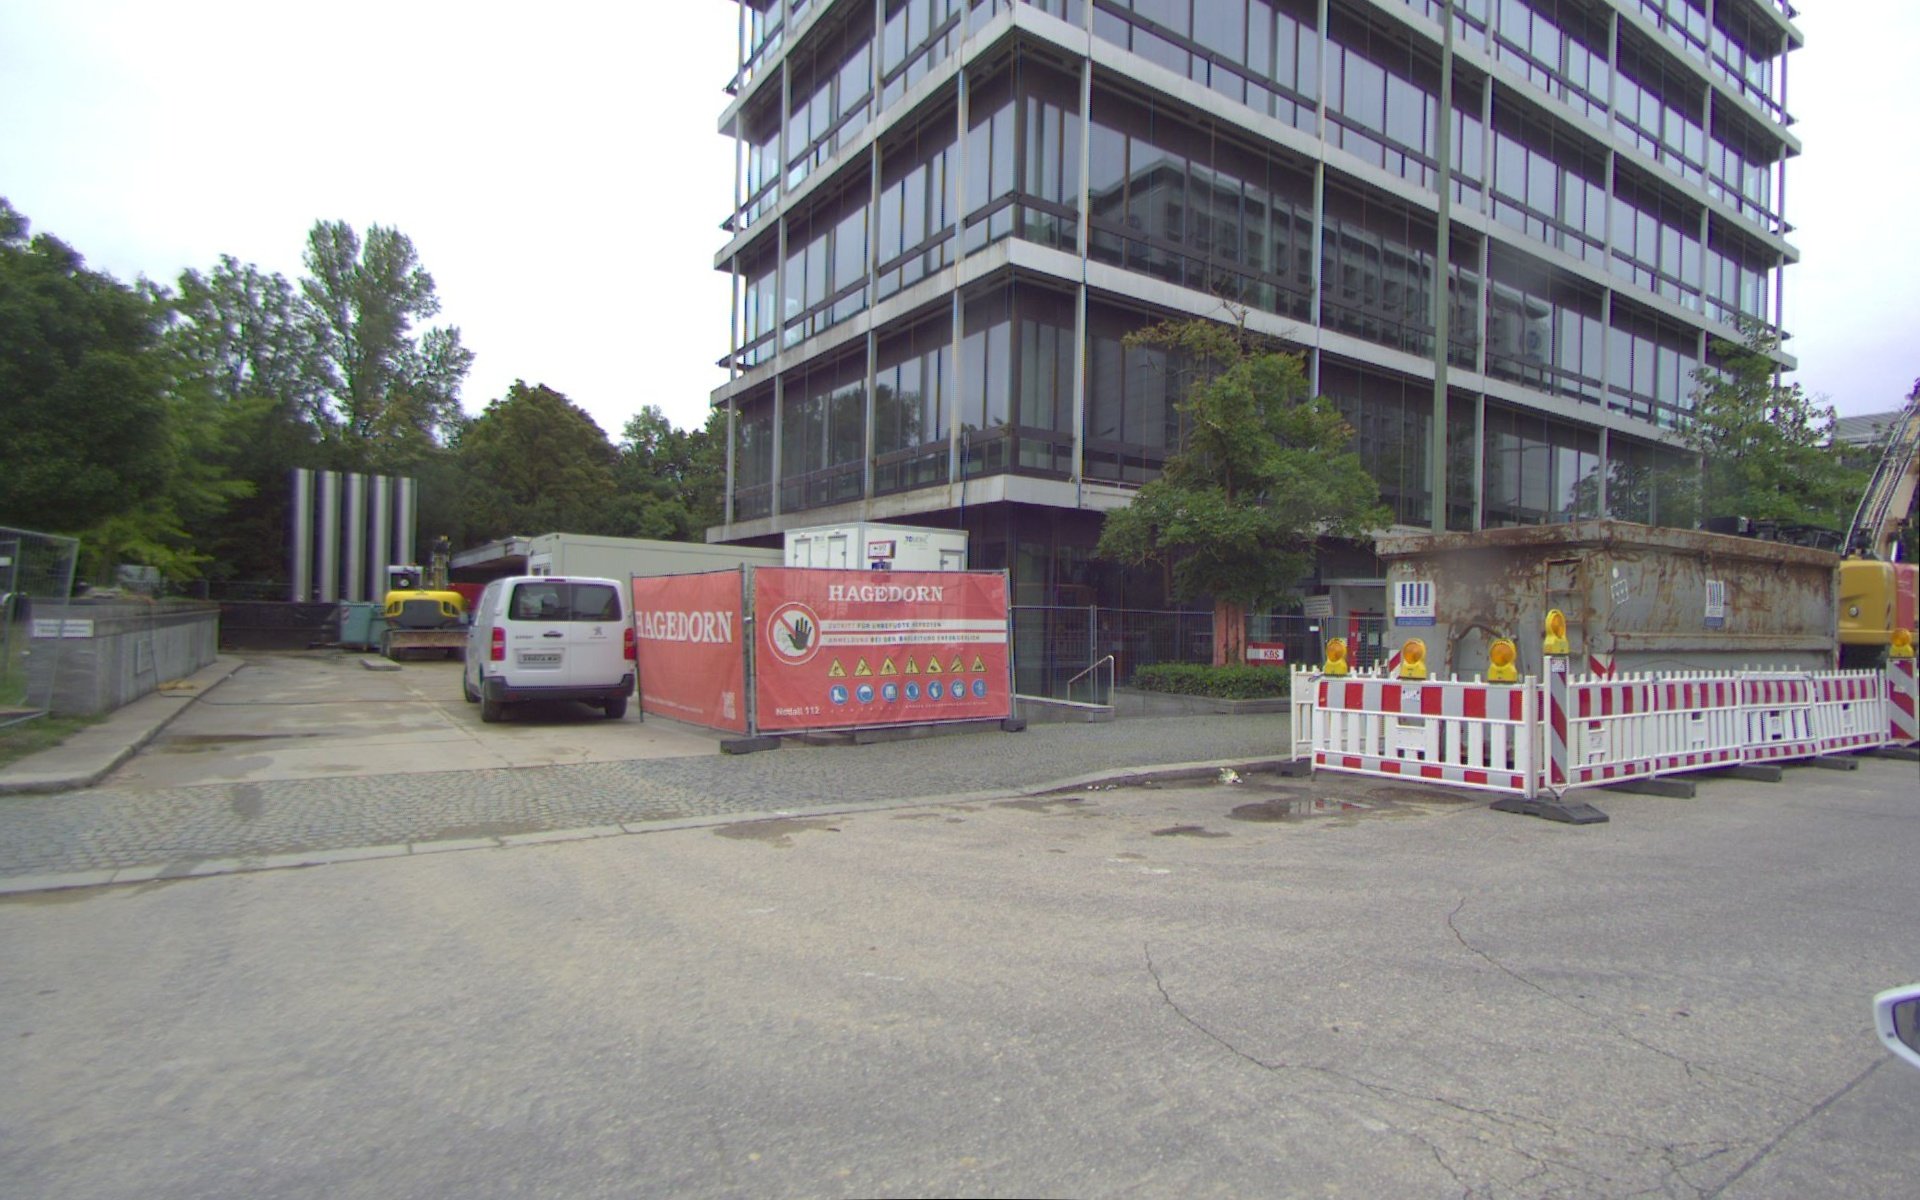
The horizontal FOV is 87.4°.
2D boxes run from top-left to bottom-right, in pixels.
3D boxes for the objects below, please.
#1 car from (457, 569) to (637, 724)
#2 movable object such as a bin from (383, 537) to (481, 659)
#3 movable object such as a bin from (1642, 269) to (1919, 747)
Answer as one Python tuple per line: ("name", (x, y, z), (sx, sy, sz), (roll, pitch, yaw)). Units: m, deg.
("car", (-6.210, 0.597, 14.764), (1.763, 1.890, 4.675), (2, -1, -31))
("movable object such as a bin", (-17.403, -0.003, 33.033), (2.550, 3.675, 4.568), (2, -1, -29))
("movable object such as a bin", (16.787, -1.067, 18.478), (11.664, 6.651, 2.886), (3, -1, -34))
